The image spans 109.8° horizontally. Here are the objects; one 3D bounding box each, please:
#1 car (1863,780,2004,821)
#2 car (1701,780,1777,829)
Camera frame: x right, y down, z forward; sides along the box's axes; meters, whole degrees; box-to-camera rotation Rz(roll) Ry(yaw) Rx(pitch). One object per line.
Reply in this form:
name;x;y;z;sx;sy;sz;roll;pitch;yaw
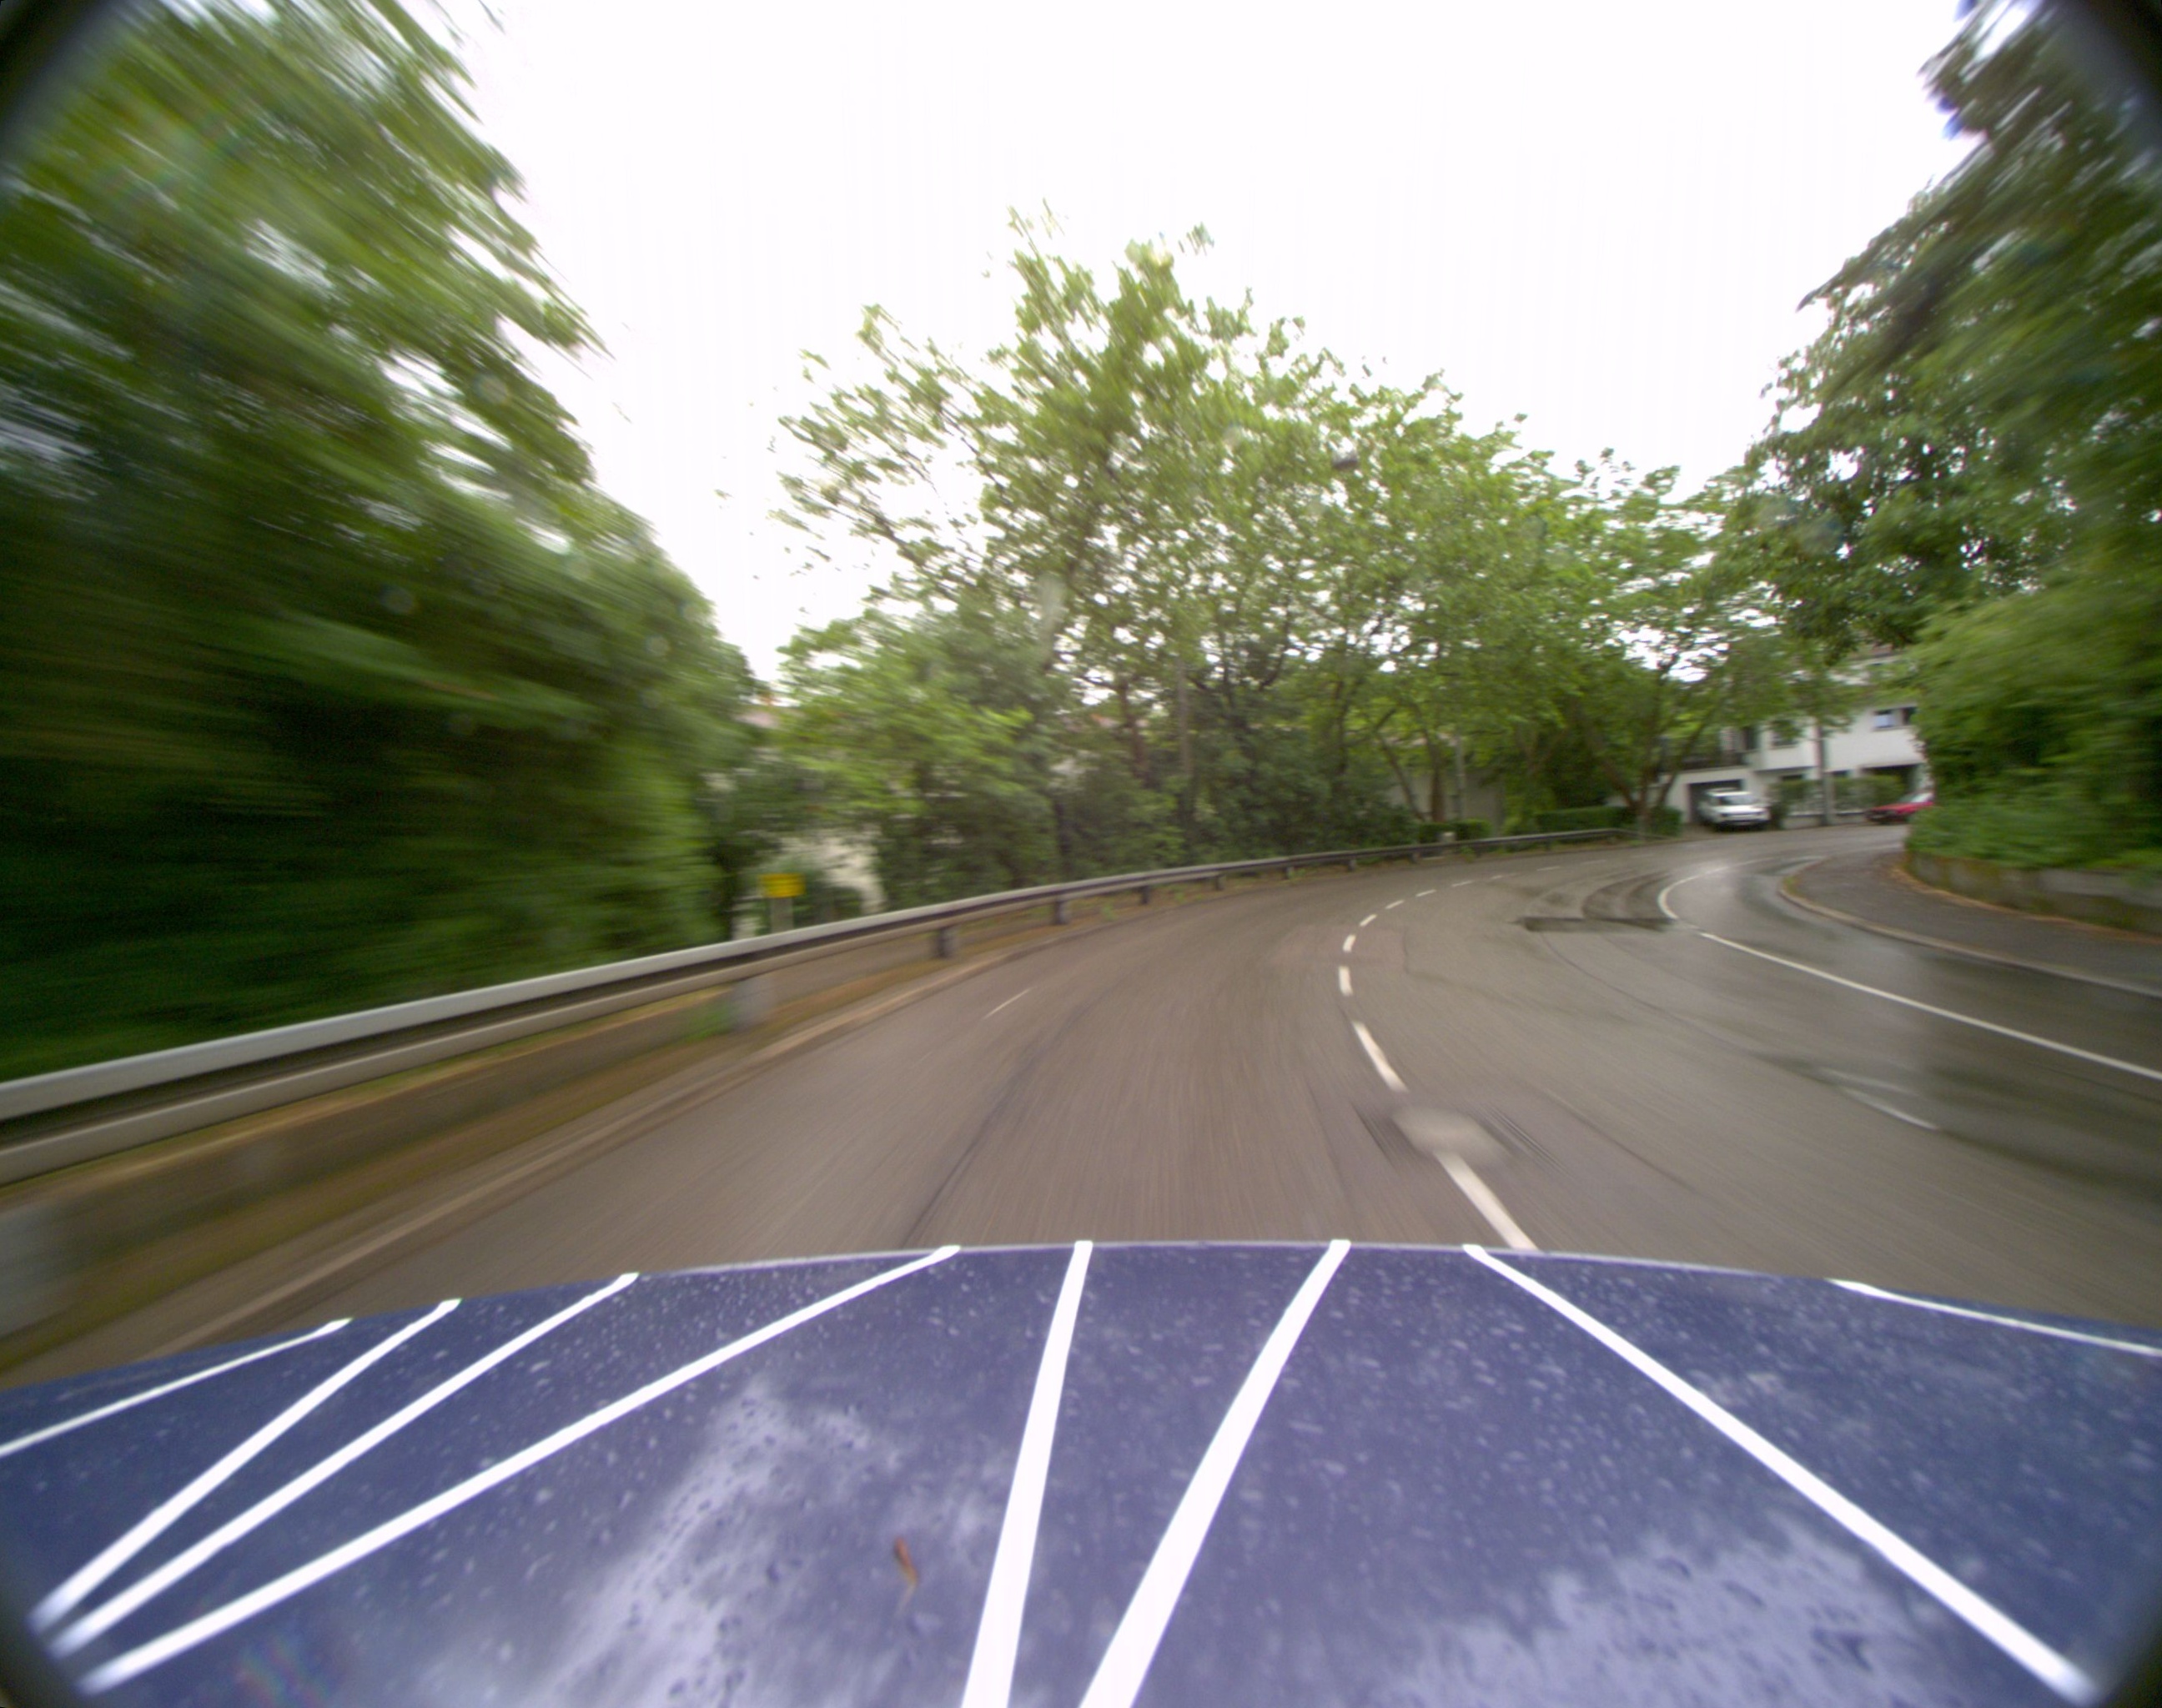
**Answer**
car;37.836;-2.366;33.816;3.994;1.412;1.635;-5;2;9
car;33.658;-2.590;38.995;1.953;1.915;4.269;-4;7;27
